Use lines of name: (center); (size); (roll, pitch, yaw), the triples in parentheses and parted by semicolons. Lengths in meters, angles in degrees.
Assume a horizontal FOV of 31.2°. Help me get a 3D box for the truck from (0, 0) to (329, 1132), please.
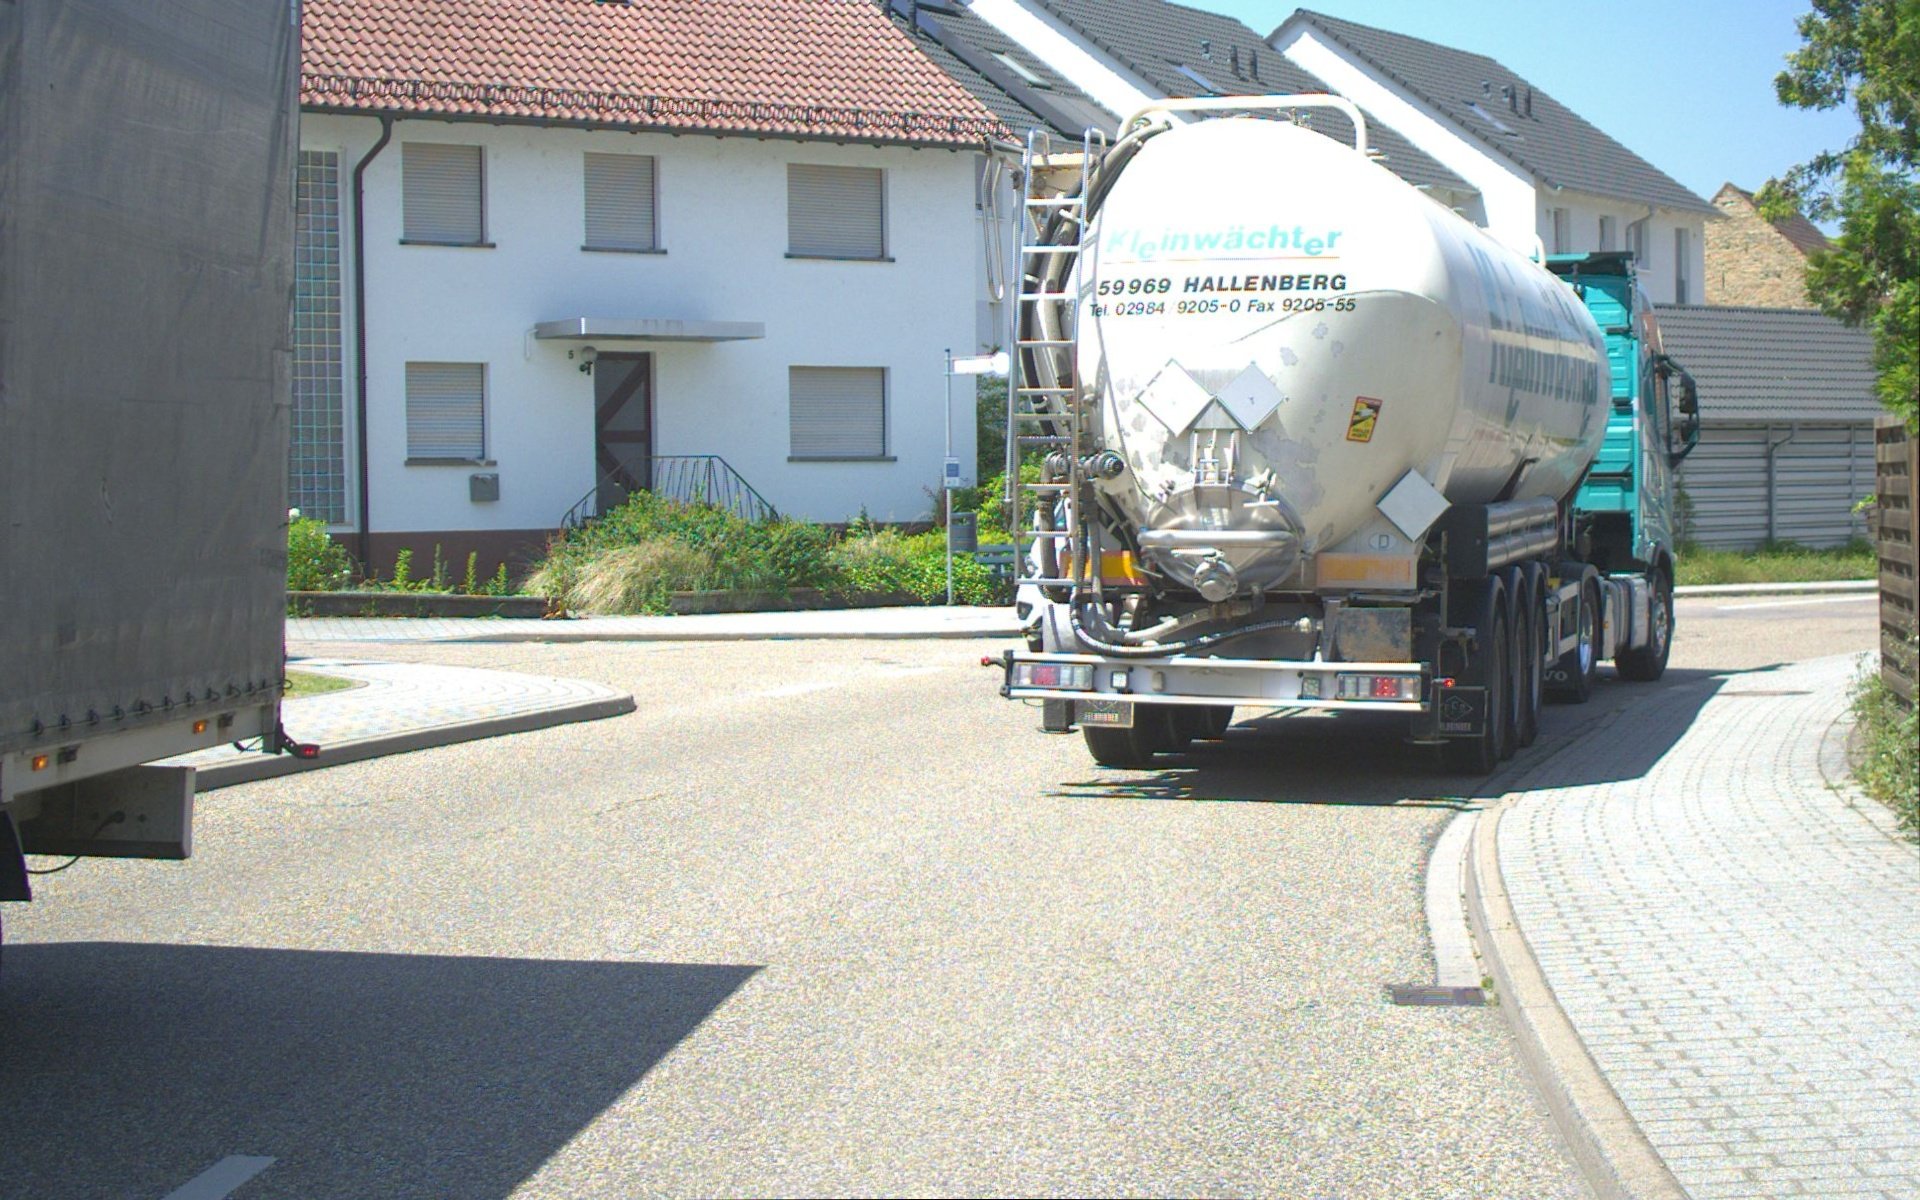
truck: (-3.540, -0.424, 7.243); (2.467, 3.356, 7.616); (2, 1, 4)

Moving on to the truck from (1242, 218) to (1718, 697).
truck: (4.931, -1.243, 31.692); (2.991, 3.951, 5.572); (-1, 1, 22)

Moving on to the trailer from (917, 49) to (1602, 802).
trailer: (2.609, -1.084, 23.978); (2.954, 3.934, 11.612); (1, 2, 14)

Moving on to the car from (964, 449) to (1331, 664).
car: (2.030, -0.519, 35.387); (1.996, 1.992, 5.208); (2, 3, 24)
